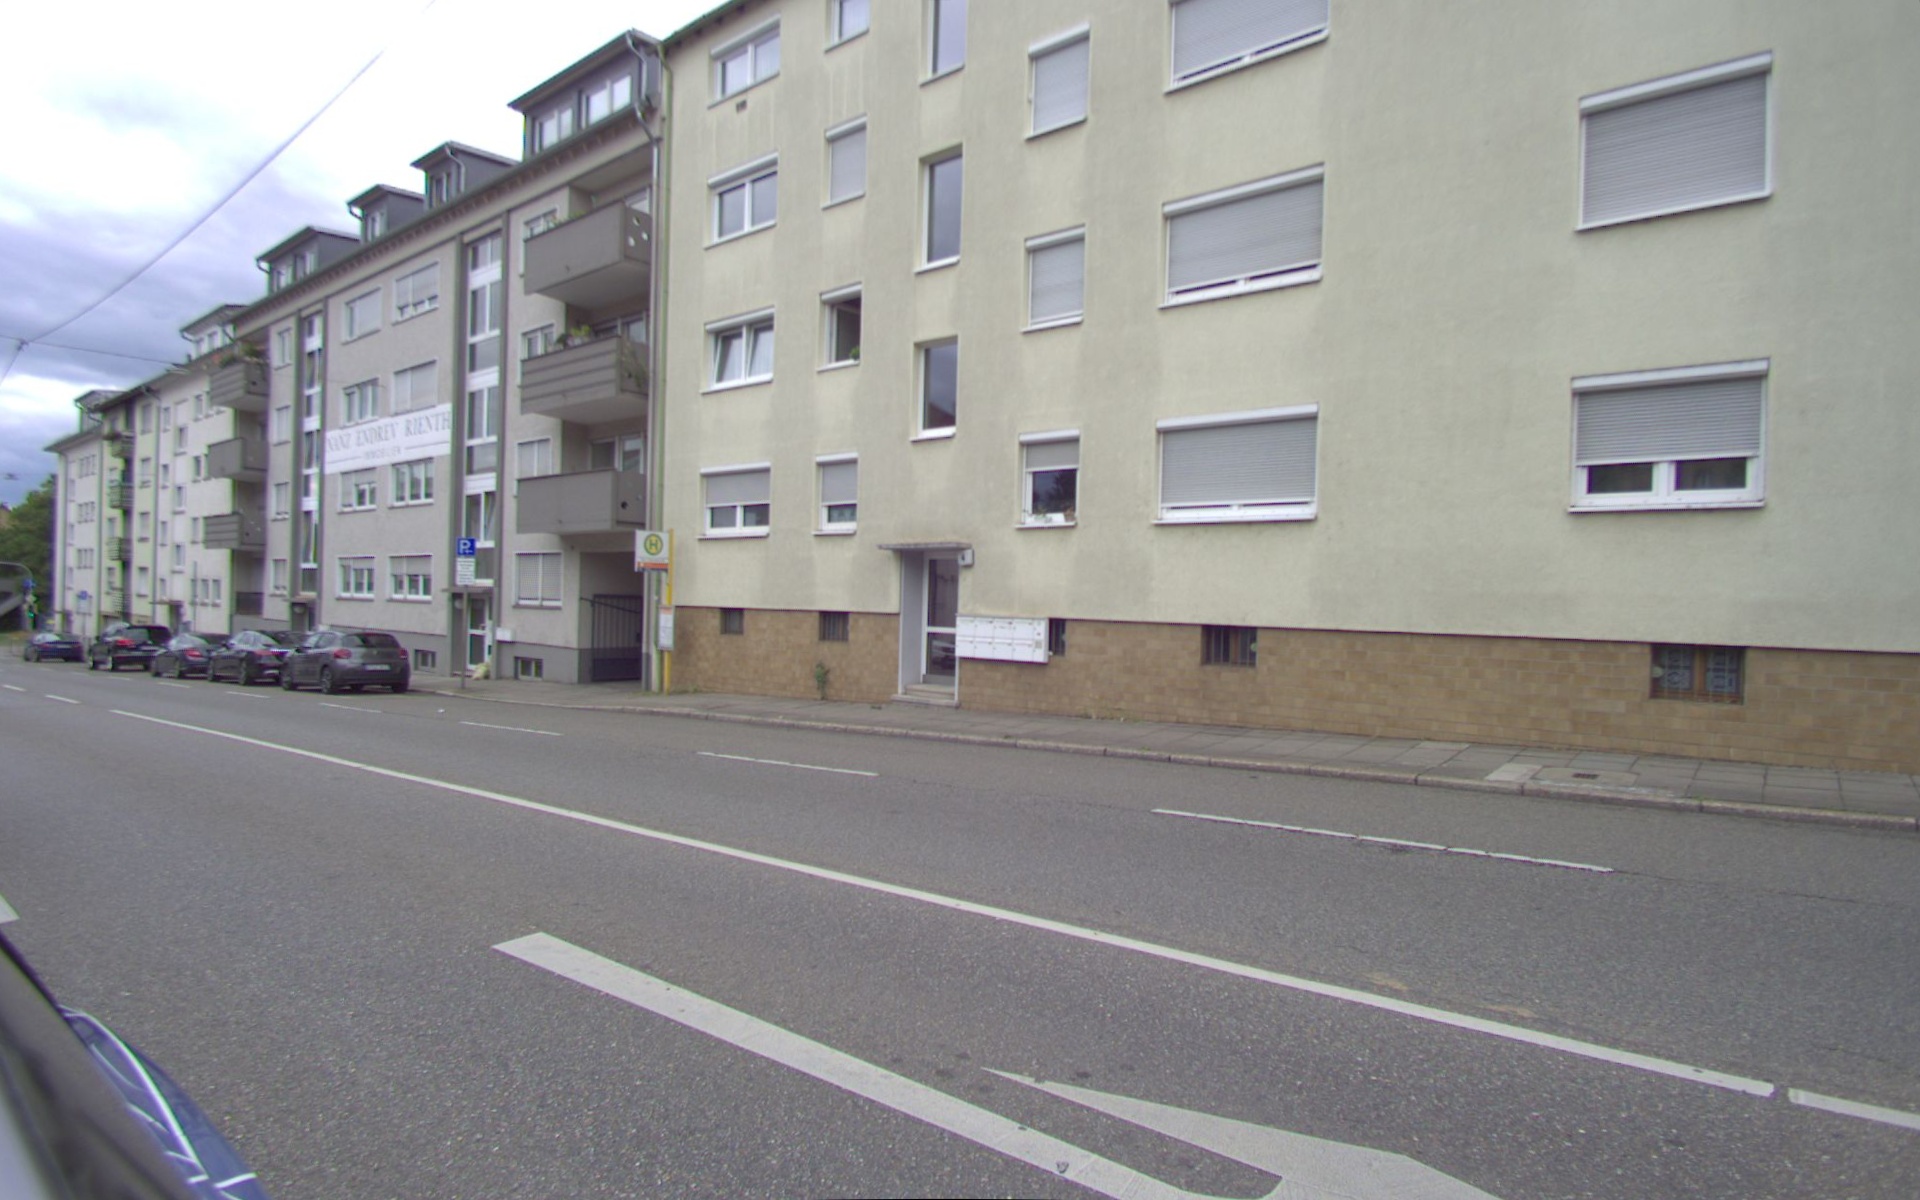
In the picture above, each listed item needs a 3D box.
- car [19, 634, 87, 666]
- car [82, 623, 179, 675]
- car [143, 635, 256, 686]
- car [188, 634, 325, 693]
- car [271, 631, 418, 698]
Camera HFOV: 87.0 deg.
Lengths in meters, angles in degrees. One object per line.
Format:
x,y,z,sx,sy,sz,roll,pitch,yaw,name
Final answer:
-42.861,2.358,47.815,4.306,1.391,1.850,-1,-4,42,car
-30.230,1.774,36.852,4.303,1.767,1.852,-1,-4,39,car
-23.249,1.817,30.886,4.303,1.416,1.750,-1,-4,39,car
-18.981,1.669,27.218,4.714,1.416,1.750,-1,-4,39,car
-14.537,1.487,23.858,3.798,1.447,1.750,-1,-4,39,car
